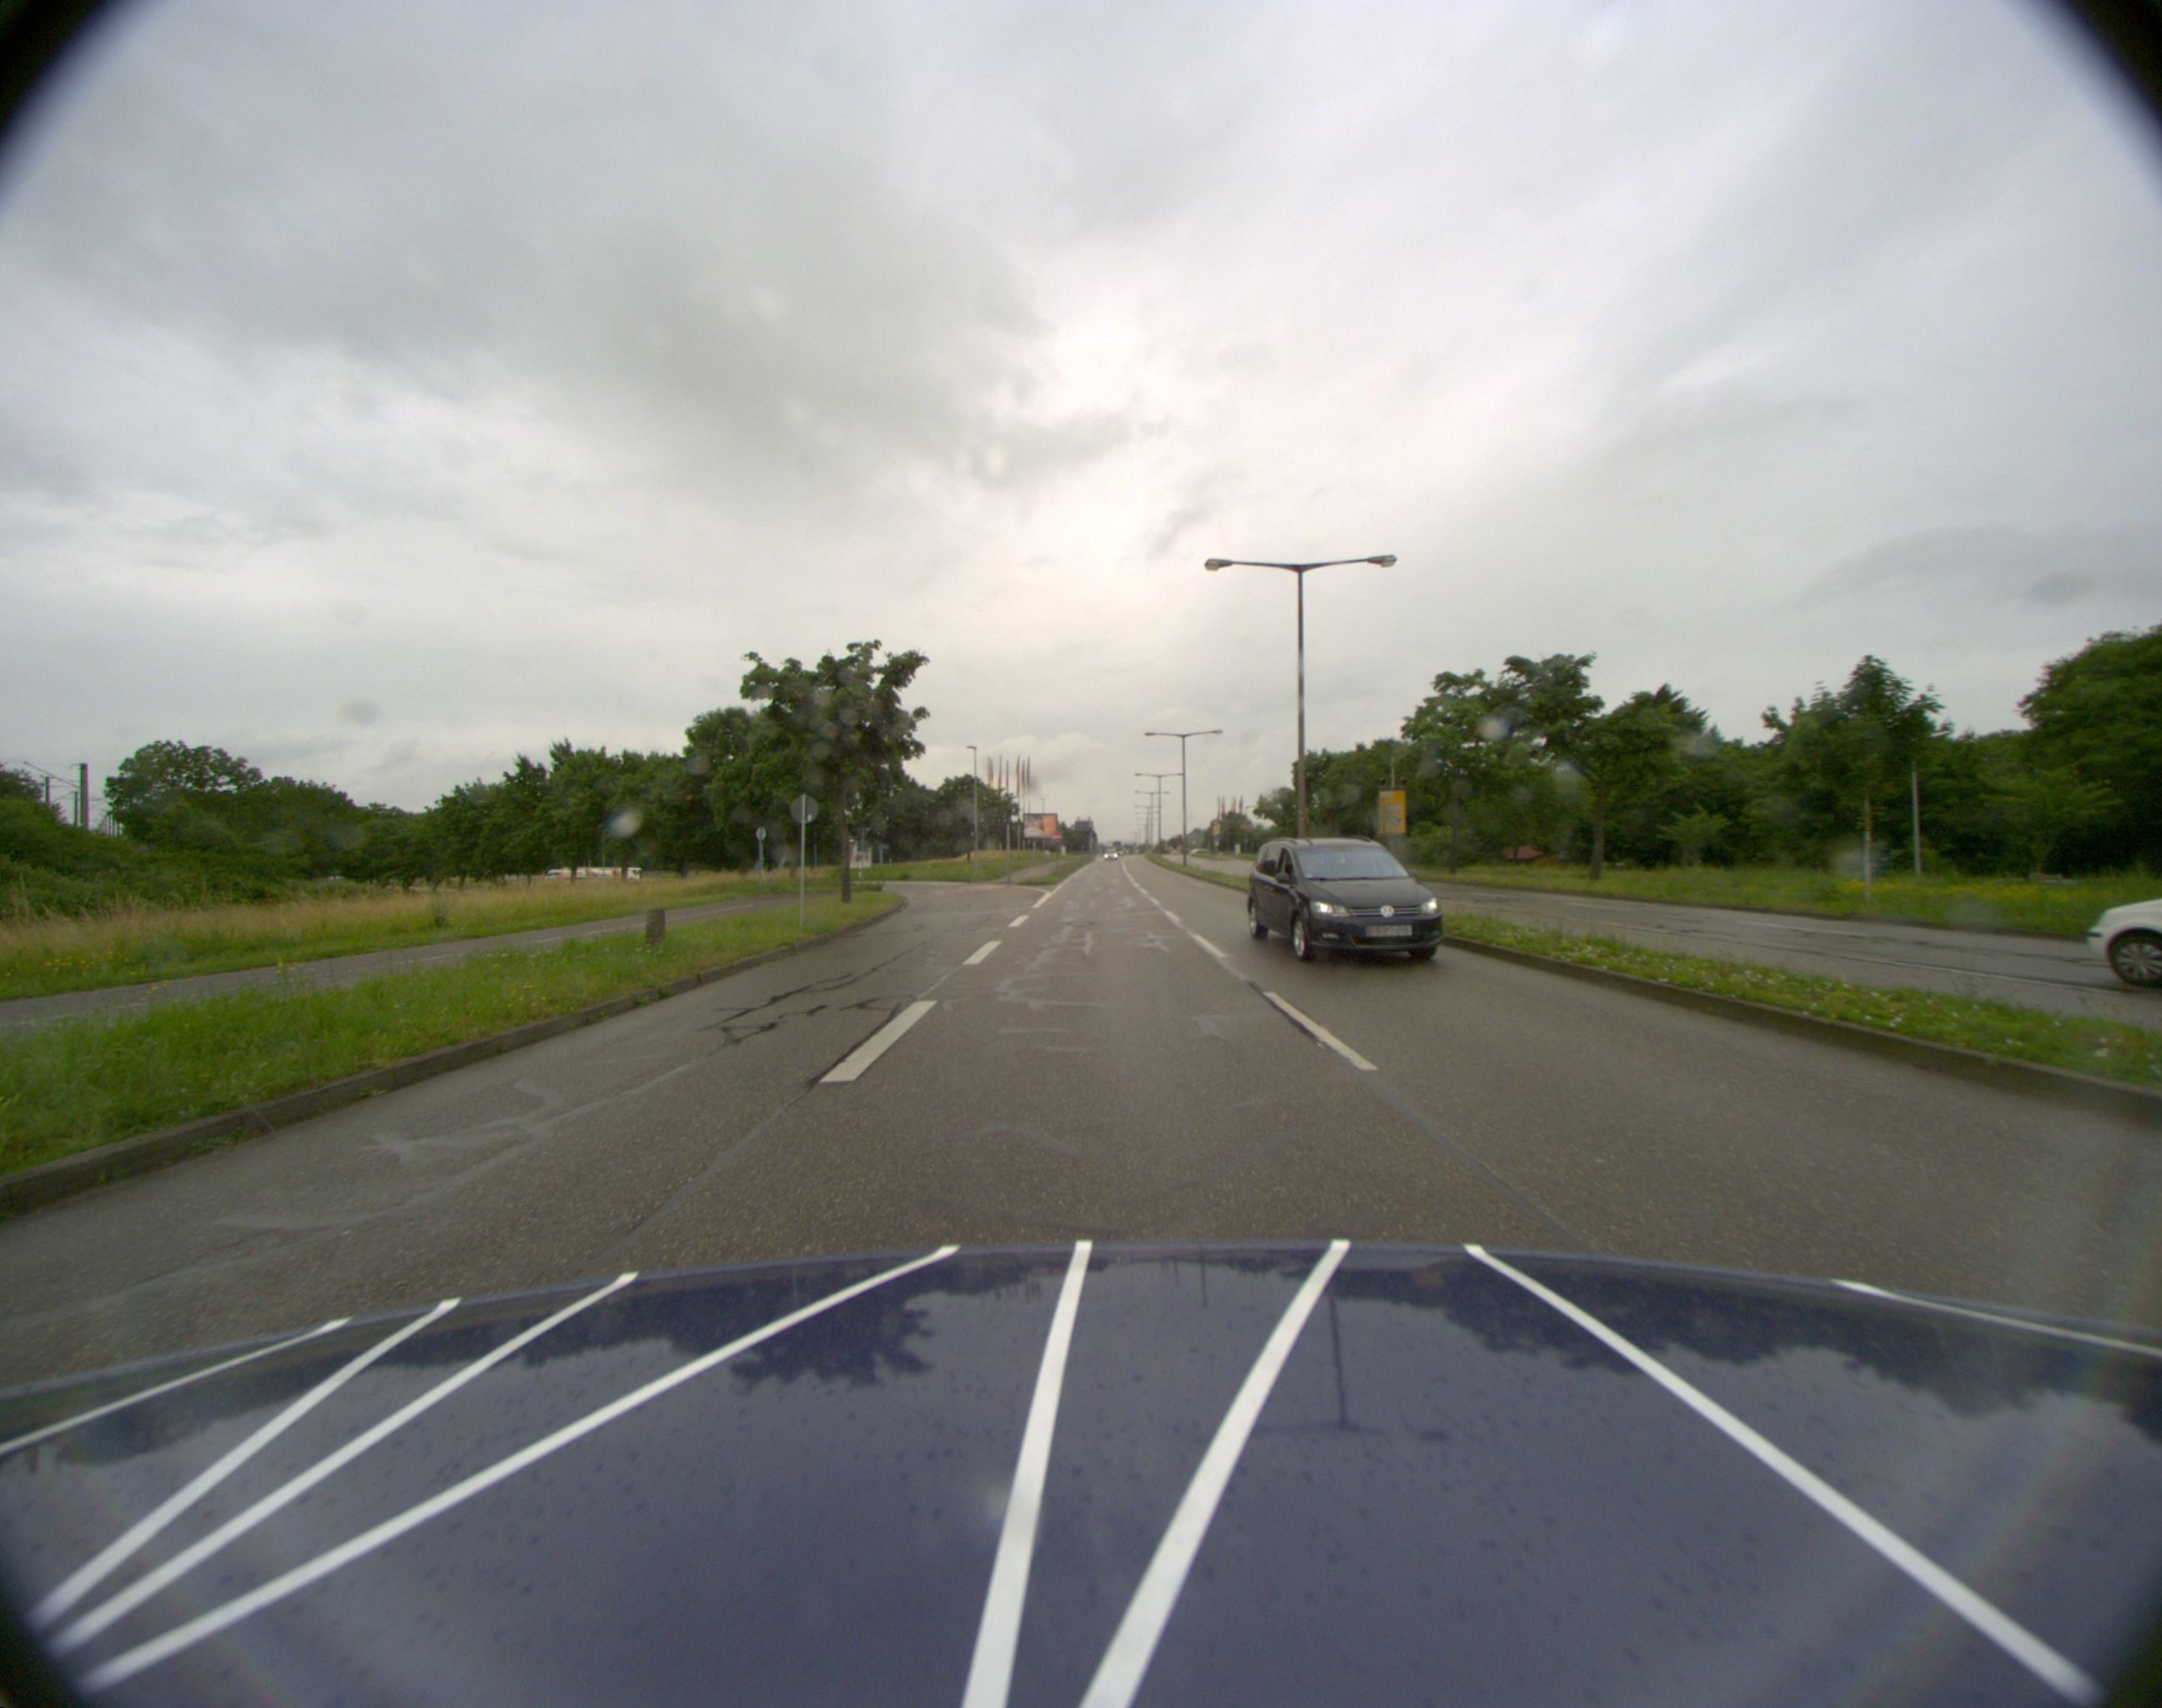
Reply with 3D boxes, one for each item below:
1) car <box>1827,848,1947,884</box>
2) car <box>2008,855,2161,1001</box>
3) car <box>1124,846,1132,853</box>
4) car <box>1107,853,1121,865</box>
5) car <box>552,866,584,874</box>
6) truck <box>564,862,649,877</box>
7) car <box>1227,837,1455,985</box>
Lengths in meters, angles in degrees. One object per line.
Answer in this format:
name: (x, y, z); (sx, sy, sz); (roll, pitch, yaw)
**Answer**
car: (39.546, 0.569, 37.346); (3.998, 1.675, 1.999); (-1, 0, -4)
car: (12.234, 0.784, 7.365); (1.687, 1.545, 4.001); (0, 0, 2)
car: (14.474, -1.379, 234.342); (1.998, 1.831, 3.999); (-2, 1, 0)
car: (4.745, 0.712, 109.440); (1.998, 1.701, 4.000); (-1, 1, 2)
car: (-114.229, 3.624, 169.254); (5.293, 1.597, 2.237); (-1, 1, -17)
truck: (-99.066, 3.215, 158.872); (14.635, 2.715, 3.502); (-1, 0, -16)
car: (3.651, 0.703, 11.723); (1.850, 1.740, 4.817); (-2, 0, 0)
